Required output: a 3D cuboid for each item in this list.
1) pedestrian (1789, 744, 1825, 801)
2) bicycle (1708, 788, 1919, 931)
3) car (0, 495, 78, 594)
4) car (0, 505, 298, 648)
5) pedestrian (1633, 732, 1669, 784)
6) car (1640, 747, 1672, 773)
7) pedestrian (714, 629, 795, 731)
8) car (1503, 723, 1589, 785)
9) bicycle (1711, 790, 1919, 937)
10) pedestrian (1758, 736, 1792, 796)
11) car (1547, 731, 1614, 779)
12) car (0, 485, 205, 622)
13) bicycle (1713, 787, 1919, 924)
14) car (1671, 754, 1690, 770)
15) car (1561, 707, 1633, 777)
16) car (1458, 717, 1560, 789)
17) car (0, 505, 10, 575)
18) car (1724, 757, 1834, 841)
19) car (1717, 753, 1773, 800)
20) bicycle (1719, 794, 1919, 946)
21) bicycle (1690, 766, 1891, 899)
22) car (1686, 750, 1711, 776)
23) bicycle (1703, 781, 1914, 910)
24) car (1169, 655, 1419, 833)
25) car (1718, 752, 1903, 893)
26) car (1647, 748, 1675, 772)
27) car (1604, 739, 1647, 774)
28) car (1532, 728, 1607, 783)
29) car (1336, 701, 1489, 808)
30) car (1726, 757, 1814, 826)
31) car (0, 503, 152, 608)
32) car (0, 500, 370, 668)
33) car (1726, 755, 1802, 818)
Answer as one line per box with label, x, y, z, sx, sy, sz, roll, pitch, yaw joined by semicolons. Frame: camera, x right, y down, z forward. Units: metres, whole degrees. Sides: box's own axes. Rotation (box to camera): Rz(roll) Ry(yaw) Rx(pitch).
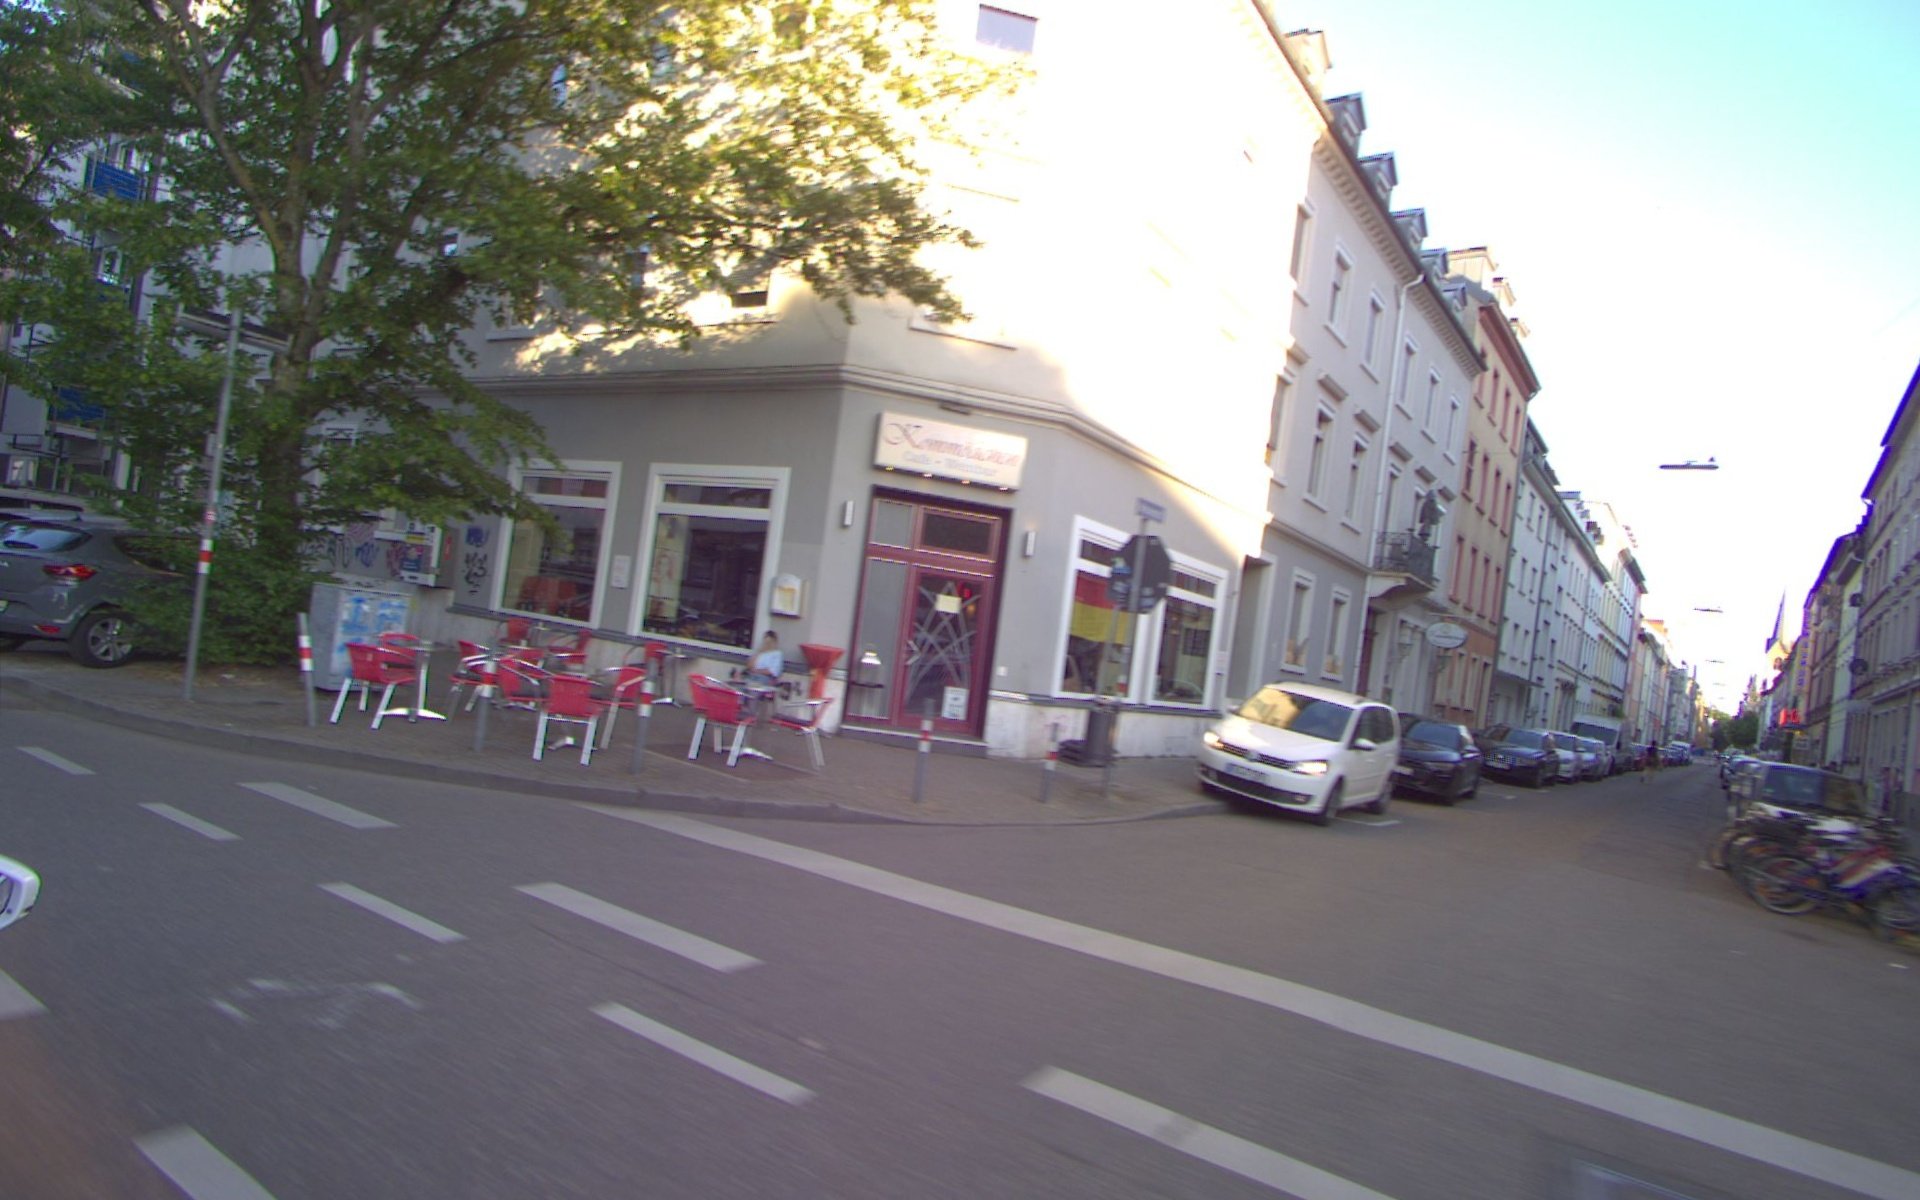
pedestrian;40.102;8.153;47.623;0.971;2.504;1.207;7;-2;35
bicycle;9.830;2.928;11.518;1.856;1.112;0.509;9;-1;32
car;-18.374;-1.183;17.494;1.811;1.716;4.196;7;-1;11
car;-11.688;-0.282;13.985;1.687;1.584;4.006;7;-2;10
pedestrian;26.658;6.090;38.834;0.971;1.787;1.207;7;-2;35
car;52.572;12.069;75.976;1.879;1.741;4.055;2;-6;36
pedestrian;-2.569;0.997;12.655;0.678;1.168;0.652;7;-2;8
car;18.339;4.806;31.411;1.879;1.593;4.055;2;-6;36
bicycle;9.506;2.863;11.025;1.856;1.112;0.609;9;-1;32
pedestrian;39.932;8.111;49.319;0.971;2.720;1.207;7;-2;35
car;24.510;6.103;39.678;1.879;1.593;4.055;2;-6;36
car;-13.974;-0.737;15.023;1.789;1.837;4.003;7;-1;11
bicycle;10.224;2.999;11.967;1.856;1.112;0.509;9;-1;32
car;89.419;20.154;124.862;1.879;1.741;4.055;2;-6;36
car;28.707;6.386;45.265;2.343;2.620;5.028;7;-3;35
car;14.927;4.134;27.234;1.879;1.593;4.055;2;-6;36
car;-21.690;-1.479;19.764;1.687;1.481;4.004;7;-1;14
car;19.128;4.594;23.625;1.637;1.460;3.666;9;-1;37
car;34.244;7.675;43.933;1.637;1.614;3.572;9;-1;37
bicycle;9.082;2.773;10.343;1.856;1.112;0.659;9;-1;32
bicycle;11.055;3.066;13.468;1.854;1.296;0.510;9;0;26
car;96.864;21.327;131.925;2.563;3.021;7.193;2;-6;37
bicycle;10.652;3.060;12.721;1.856;1.112;0.538;9;-1;32
car;4.790;1.980;13.970;1.878;1.861;4.327;6;-4;37
car;13.068;3.322;15.688;1.755;1.534;4.052;9;-1;37
car;60.479;13.805;86.784;1.879;1.741;4.055;2;-6;36
car;38.553;9.071;58.256;1.879;1.741;4.055;2;-6;36
car;21.293;5.419;35.080;1.879;1.593;4.055;2;-6;36
car;8.549;2.865;18.807;1.878;1.593;4.057;2;-6;34
car;23.334;5.462;29.077;1.637;1.518;3.572;9;-1;37
car;-16.342;-0.860;16.949;1.687;1.584;4.005;7;-2;10
car;-9.418;-0.100;11.967;1.745;1.557;4.006;7;-2;12
car;26.403;6.070;33.133;1.637;1.614;3.572;9;-1;37
